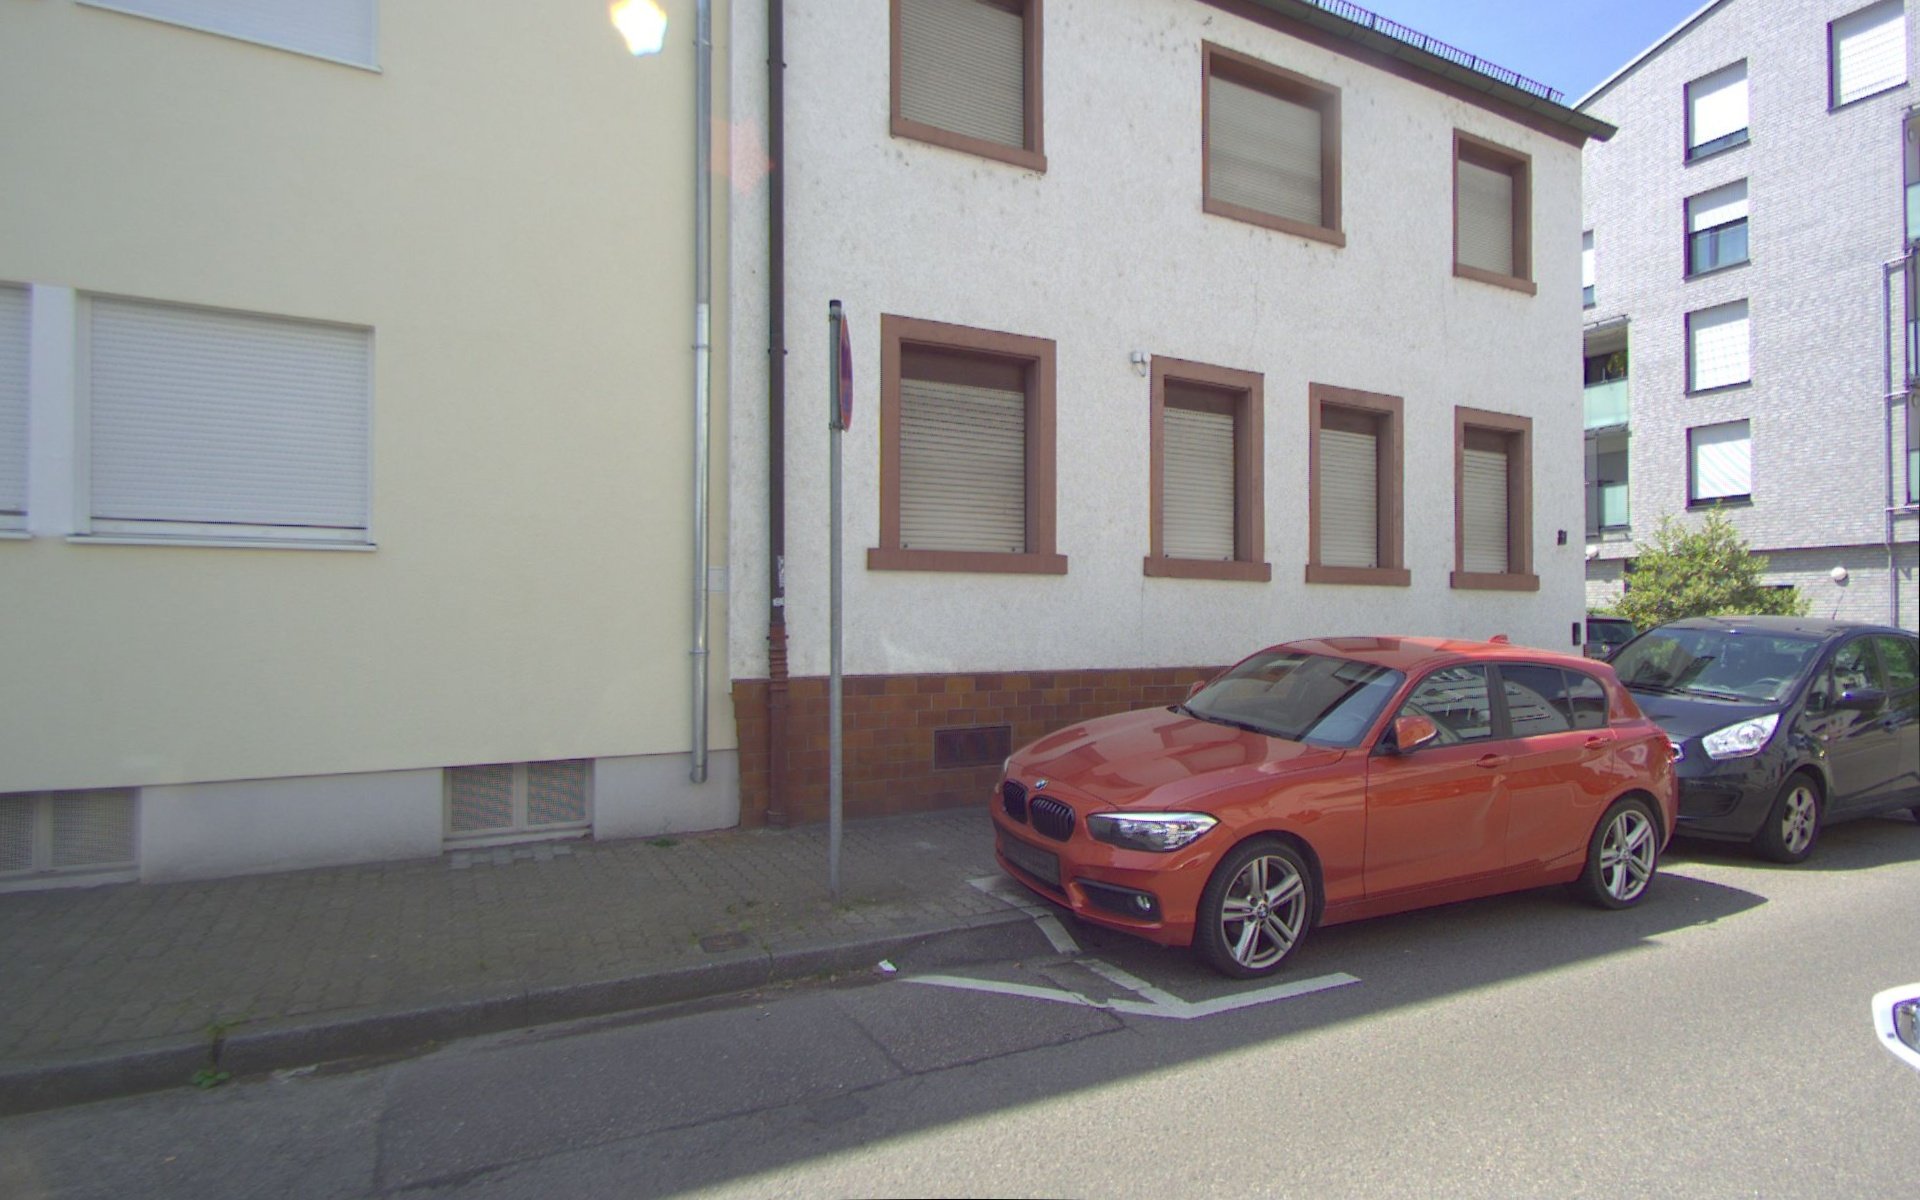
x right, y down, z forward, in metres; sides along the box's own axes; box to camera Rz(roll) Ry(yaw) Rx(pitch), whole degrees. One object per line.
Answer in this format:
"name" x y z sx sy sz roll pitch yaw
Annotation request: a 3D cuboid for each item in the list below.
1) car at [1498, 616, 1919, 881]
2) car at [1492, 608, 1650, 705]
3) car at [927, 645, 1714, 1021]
"car" 6.396 0.985 8.085 3.895 1.668 1.787 1 -1 -28
"car" 11.124 0.943 18.539 1.605 1.560 3.565 1 0 16
"car" 2.105 0.996 5.740 4.233 1.435 1.828 1 -2 -26
